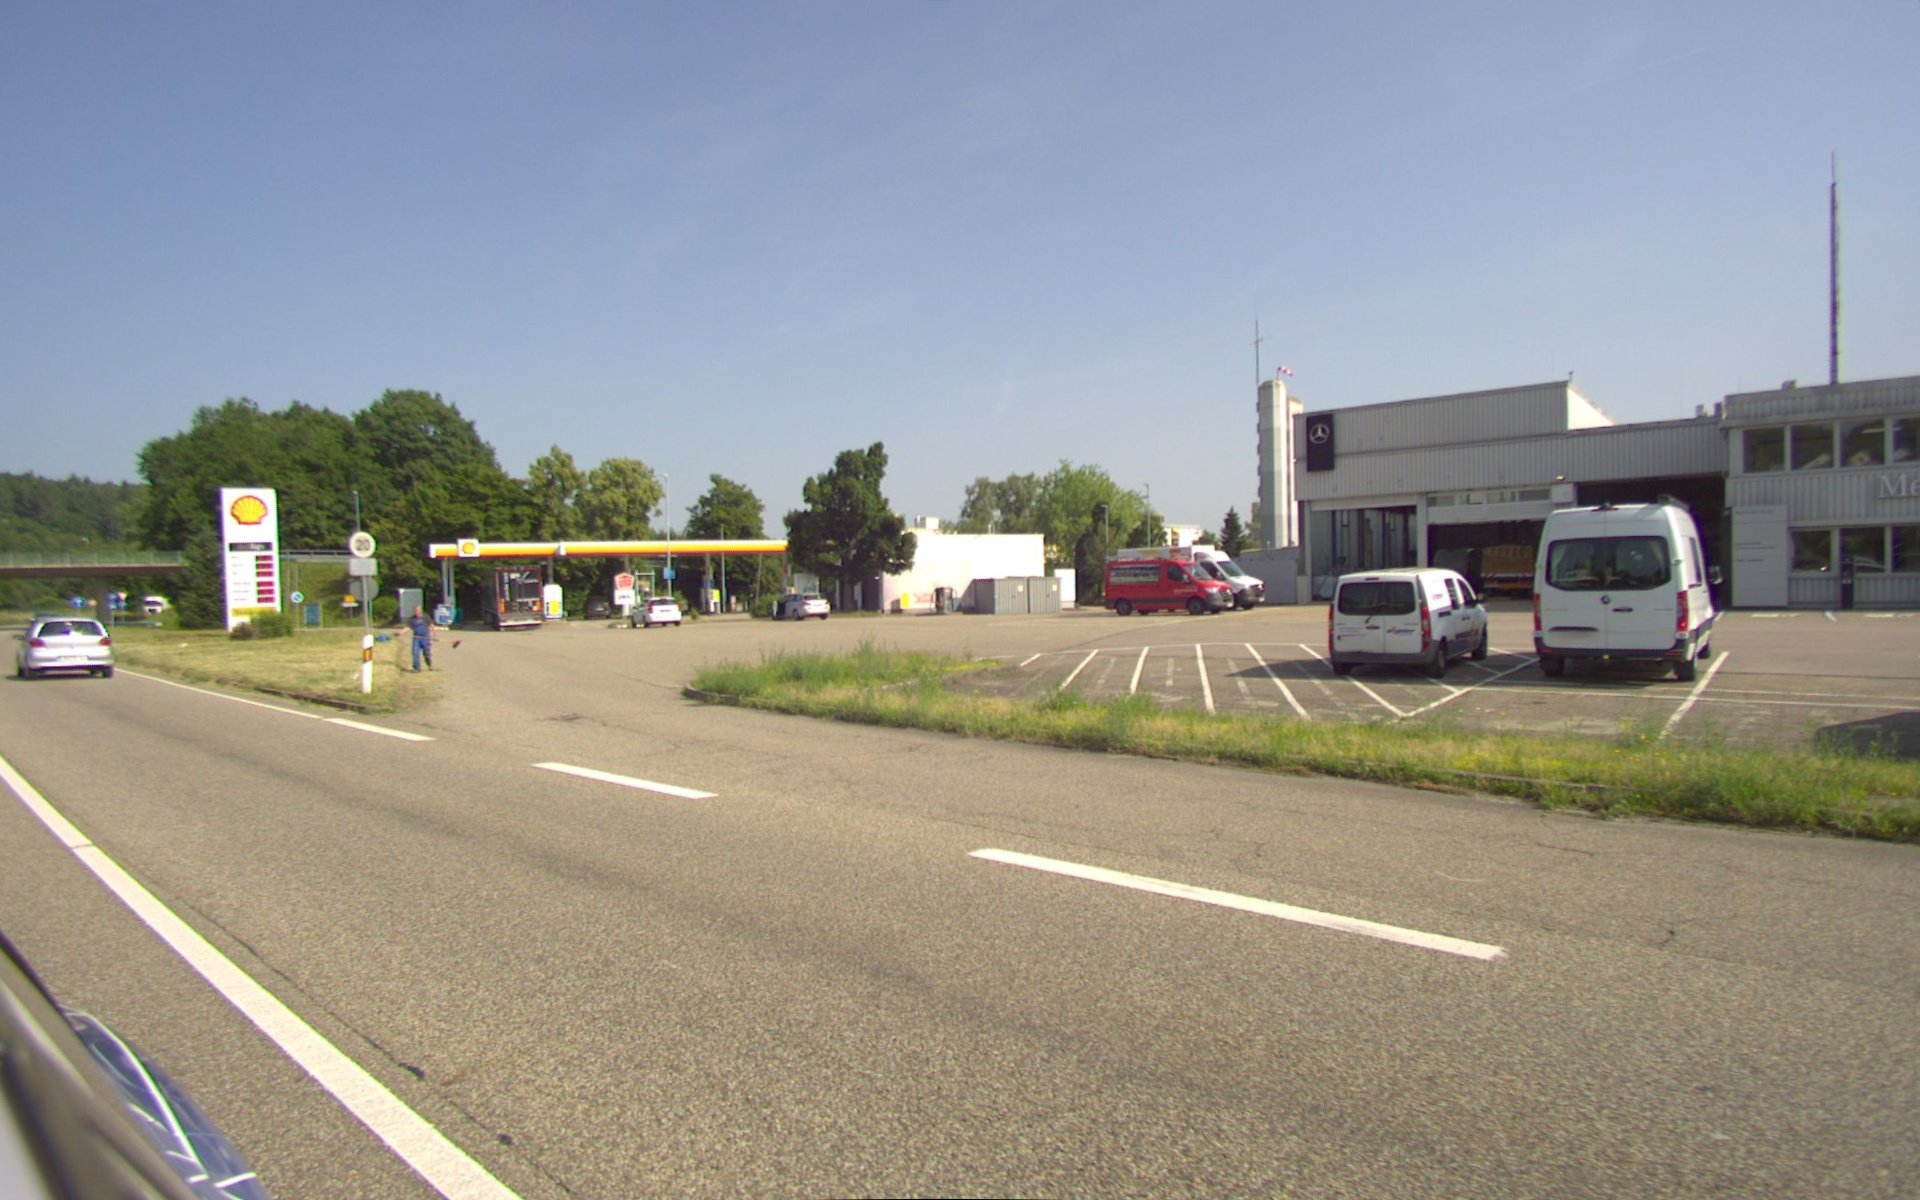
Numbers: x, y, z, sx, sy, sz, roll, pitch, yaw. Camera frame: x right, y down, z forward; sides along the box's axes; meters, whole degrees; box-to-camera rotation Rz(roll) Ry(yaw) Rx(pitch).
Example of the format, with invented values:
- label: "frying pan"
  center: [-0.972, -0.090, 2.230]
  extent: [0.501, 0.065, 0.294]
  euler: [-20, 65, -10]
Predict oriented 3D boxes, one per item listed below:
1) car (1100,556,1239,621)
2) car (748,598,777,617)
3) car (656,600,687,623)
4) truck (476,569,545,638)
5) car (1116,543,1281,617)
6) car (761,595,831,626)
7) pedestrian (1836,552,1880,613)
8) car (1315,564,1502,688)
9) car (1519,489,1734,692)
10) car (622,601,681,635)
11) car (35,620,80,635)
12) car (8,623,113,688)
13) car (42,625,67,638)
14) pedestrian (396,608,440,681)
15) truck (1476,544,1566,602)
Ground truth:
- label: "car"
  center: [8.407, -0.406, 40.874]
  extent: [5.219, 2.404, 1.861]
  euler: [-2, -1, 40]
- label: "car"
  center: [-15.915, 0.581, 81.562]
  extent: [1.966, 1.470, 4.011]
  euler: [-2, 0, -15]
- label: "car"
  center: [-22.827, 0.907, 79.954]
  extent: [1.877, 1.655, 4.013]
  euler: [-2, 0, -21]
- label: "truck"
  center: [-30.929, 0.282, 69.084]
  extent: [3.010, 4.165, 16.825]
  euler: [0, 0, -28]
- label: "car"
  center: [10.167, -0.793, 43.633]
  extent: [6.523, 2.878, 2.370]
  euler: [-2, -1, 40]
- label: "car"
  center: [-8.768, 0.571, 53.808]
  extent: [1.693, 1.578, 4.667]
  euler: [-1, -1, -37]
- label: "pedestrian"
  center: [25.731, -0.486, 29.013]
  extent: [0.849, 1.702, 0.812]
  euler: [-1, -1, 37]
- label: "car"
  center: [8.109, 0.365, 18.078]
  extent: [1.985, 1.853, 4.402]
  euler: [-1, 2, 38]
- label: "car"
  center: [11.154, -0.221, 16.696]
  extent: [2.284, 2.765, 5.663]
  euler: [-1, 2, 40]
- label: "car"
  center: [-15.548, 0.923, 50.915]
  extent: [1.692, 1.578, 4.671]
  euler: [-1, -1, -31]
- label: "car"
  center: [-76.551, 2.334, 85.832]
  extent: [4.088, 1.181, 1.789]
  euler: [-1, -2, 33]
- label: "car"
  center: [-22.436, 1.325, 25.205]
  extent: [3.707, 1.484, 1.659]
  euler: [-2, -2, 44]
- label: "car"
  center: [-95.305, 3.289, 106.503]
  extent: [1.656, 1.366, 3.930]
  euler: [1, -2, -38]
- label: "pedestrian"
  center: [-13.114, 1.052, 24.519]
  extent: [0.835, 1.702, 1.148]
  euler: [0, 0, -23]
- label: "truck"
  center: [25.209, -1.134, 45.336]
  extent: [2.448, 2.375, 6.811]
  euler: [-1, 0, 38]
